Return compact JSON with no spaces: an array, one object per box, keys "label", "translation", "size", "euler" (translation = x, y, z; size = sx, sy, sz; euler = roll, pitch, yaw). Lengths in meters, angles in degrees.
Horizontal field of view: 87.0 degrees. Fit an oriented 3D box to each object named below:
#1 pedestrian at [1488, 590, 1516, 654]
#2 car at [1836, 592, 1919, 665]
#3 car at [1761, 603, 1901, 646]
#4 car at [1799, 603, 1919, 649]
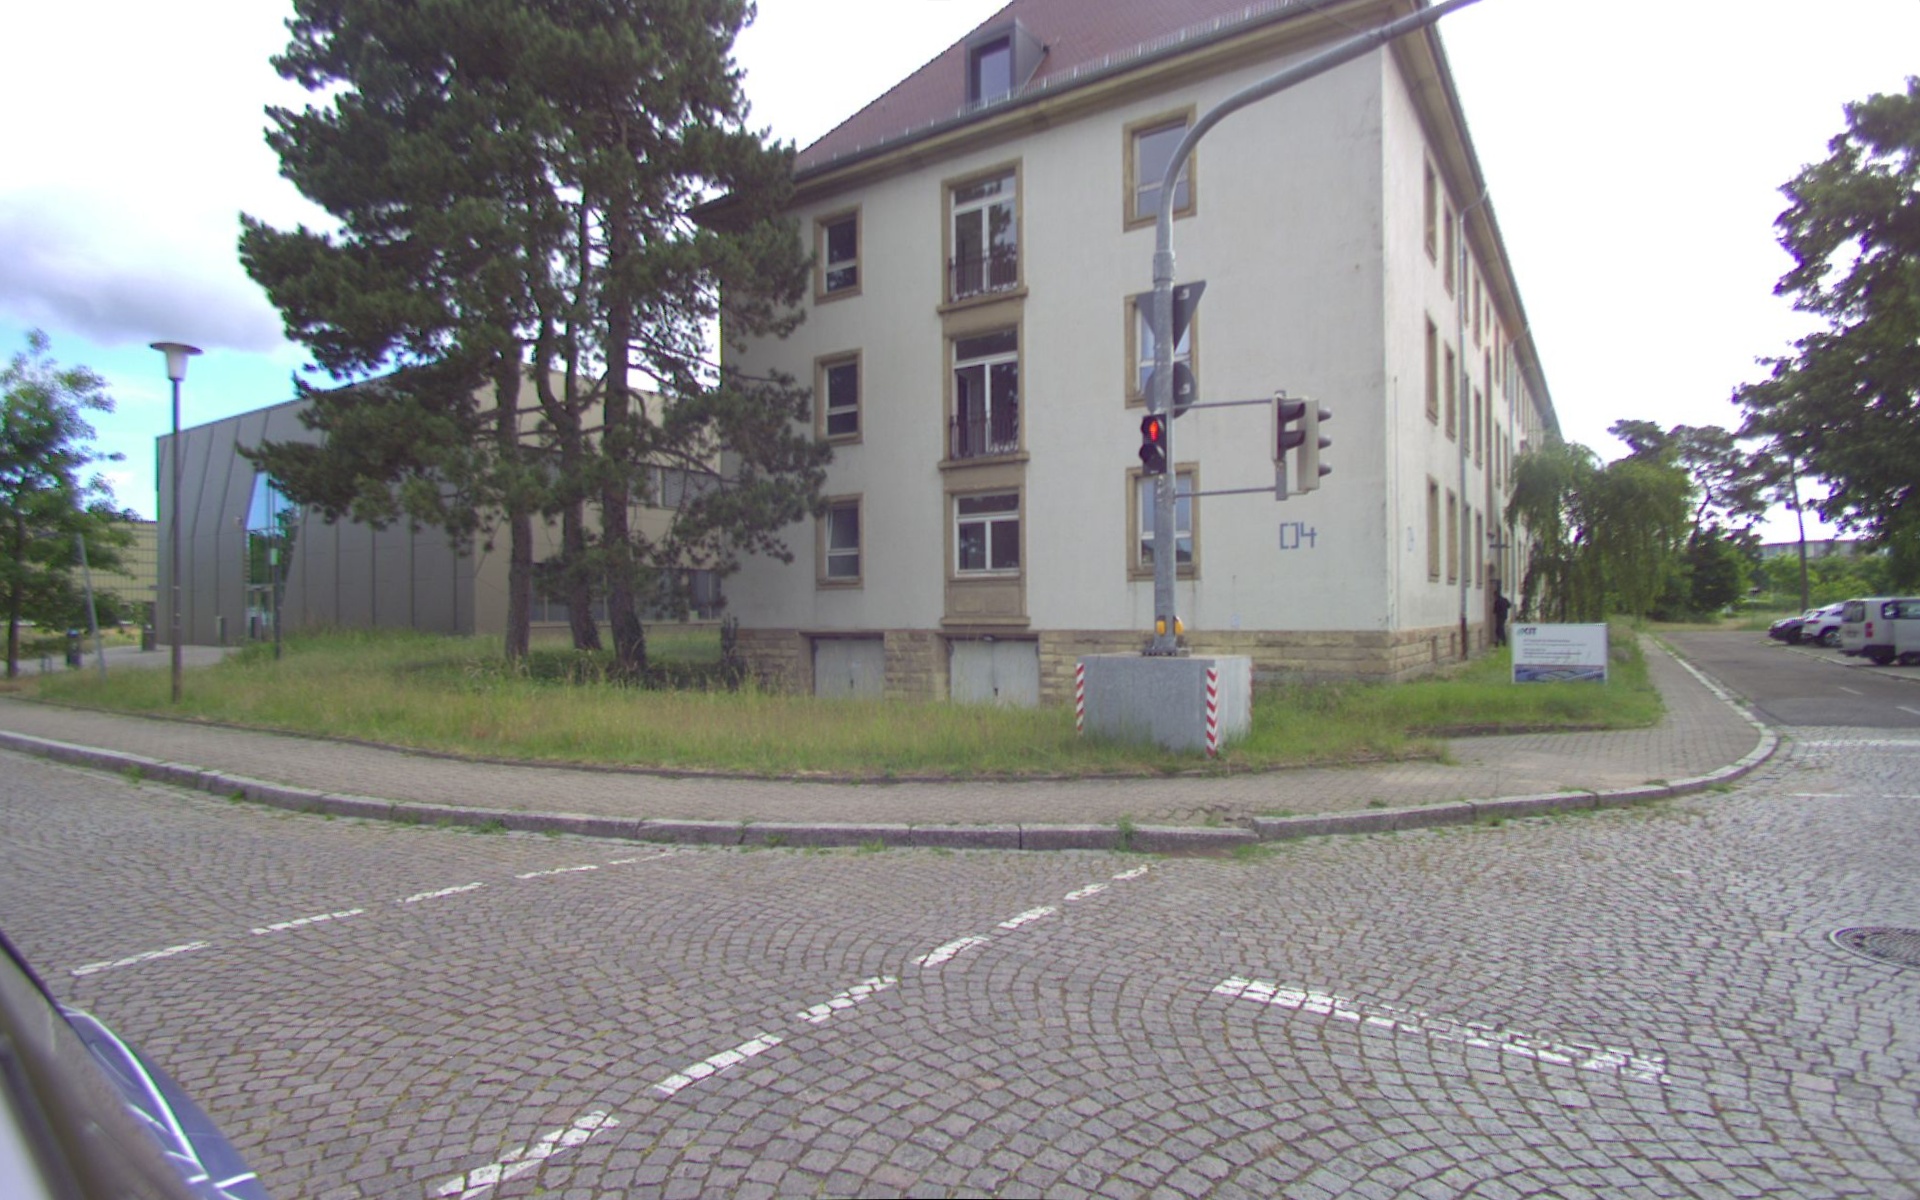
[{"label":"pedestrian","translation":[16.815,0.681,31.386],"size":[0.680,1.926,0.790],"euler":[-1,-1,34]},{"label":"car","translation":[27.238,0.743,27.448],"size":[4.874,1.967,1.851],"euler":[-1,0,21]},{"label":"car","translation":[35.992,0.990,41.957],"size":[4.077,1.706,1.788],"euler":[-1,0,30]},{"label":"car","translation":[35.053,0.978,38.852],"size":[4.077,1.706,1.788],"euler":[-1,0,30]}]
